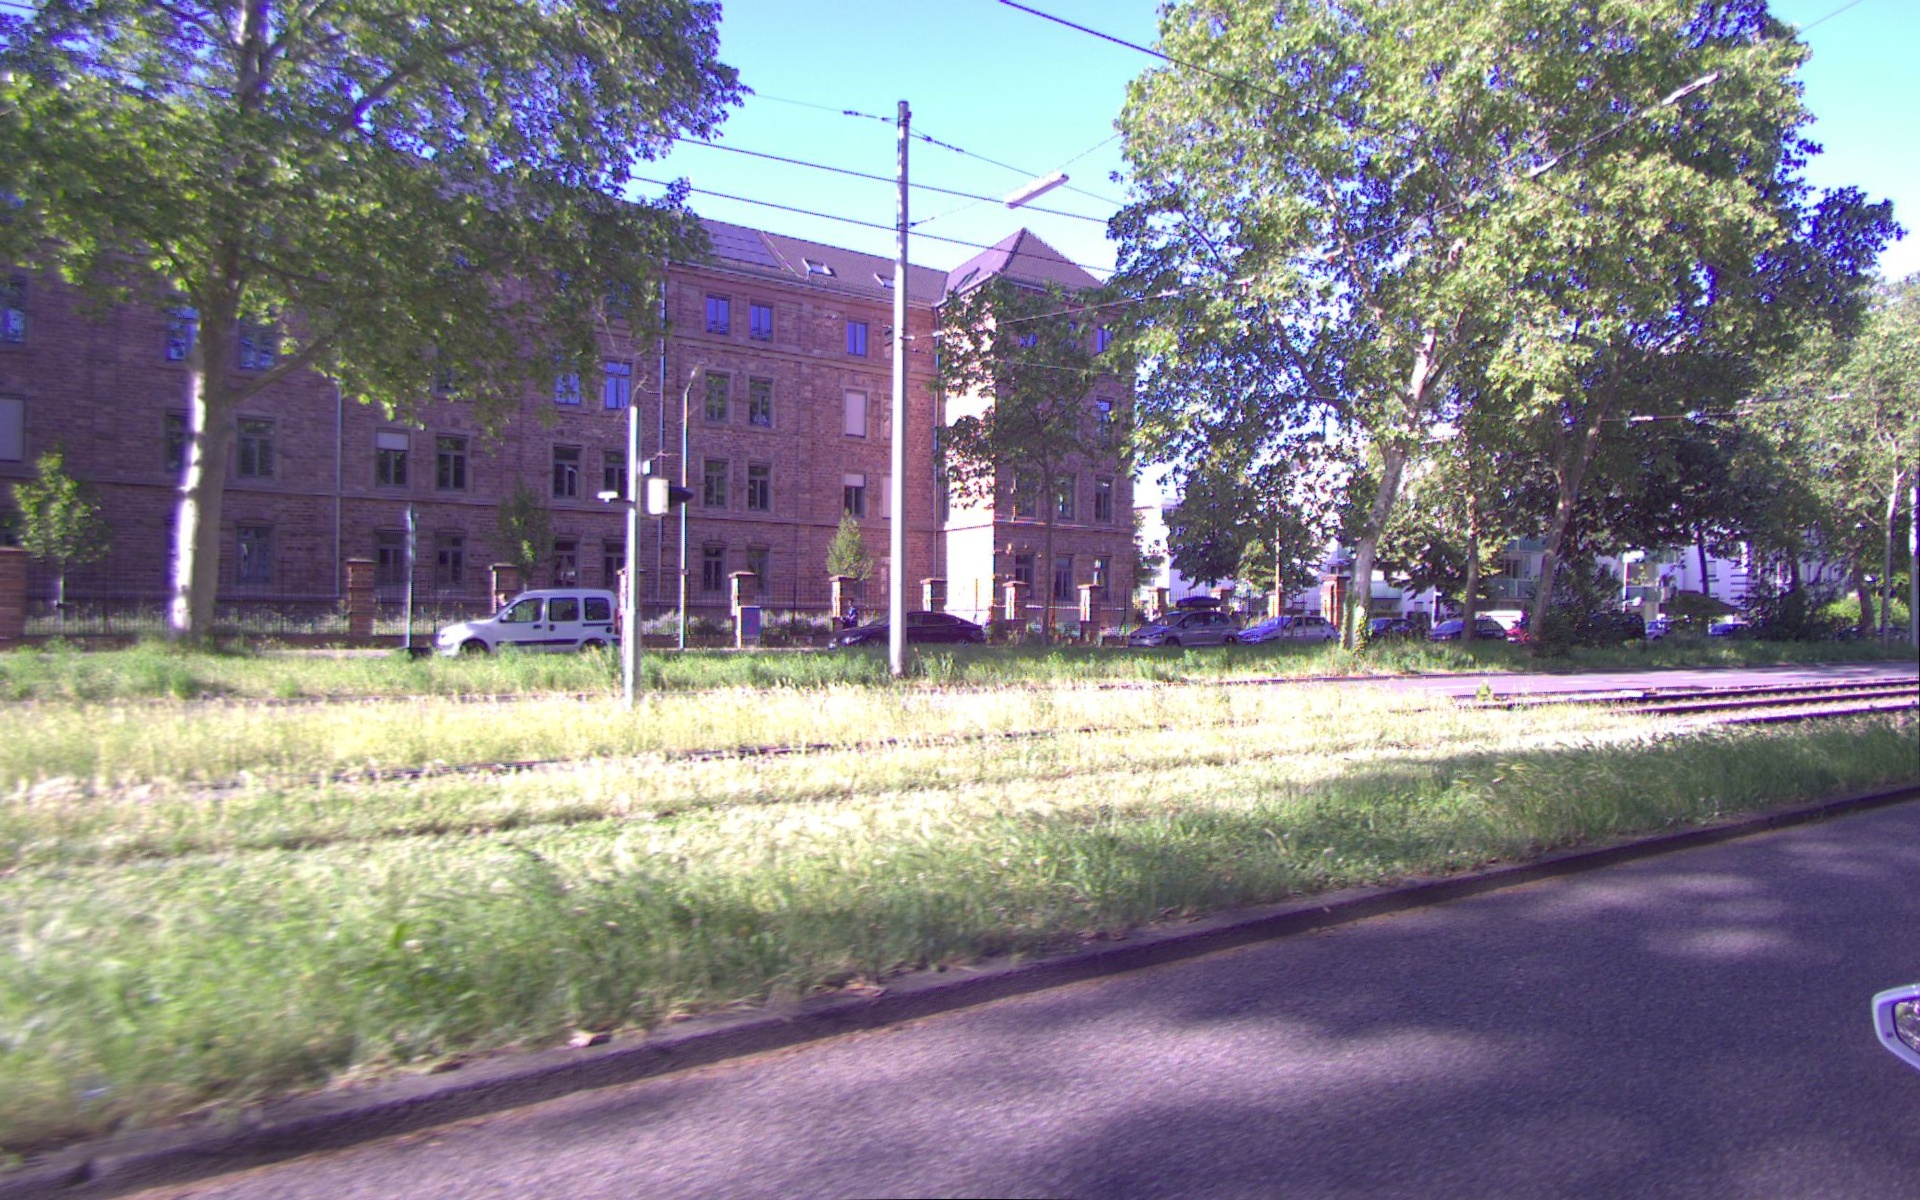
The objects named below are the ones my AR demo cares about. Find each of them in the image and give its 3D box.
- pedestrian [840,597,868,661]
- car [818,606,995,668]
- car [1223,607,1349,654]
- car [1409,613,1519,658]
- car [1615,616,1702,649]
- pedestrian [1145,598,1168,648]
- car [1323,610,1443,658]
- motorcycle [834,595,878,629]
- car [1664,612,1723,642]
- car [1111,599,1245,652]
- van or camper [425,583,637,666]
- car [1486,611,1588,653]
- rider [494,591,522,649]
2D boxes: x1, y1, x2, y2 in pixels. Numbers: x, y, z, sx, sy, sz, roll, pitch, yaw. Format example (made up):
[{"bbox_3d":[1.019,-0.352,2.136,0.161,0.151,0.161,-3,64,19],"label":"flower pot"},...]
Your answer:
[{"bbox_3d":[-3.430,0.923,32.409,0.702,2.040,0.582,1,0,-31],"label":"pedestrian"},{"bbox_3d":[-1.521,1.011,29.161,4.769,1.671,1.984,1,0,-30],"label":"car"},{"bbox_3d":[12.148,1.121,37.408,4.362,1.637,1.987,1,0,-26],"label":"car"},{"bbox_3d":[21.526,1.477,42.885,4.686,1.833,2.097,1,0,-32],"label":"car"},{"bbox_3d":[36.247,1.713,52.094,5.035,1.619,2.016,2,-3,-33],"label":"car"},{"bbox_3d":[8.223,0.951,42.009,0.618,2.040,0.711,1,0,-30],"label":"pedestrian"},{"bbox_3d":[16.926,1.330,40.147,4.684,1.833,2.098,1,0,-32],"label":"car"},{"bbox_3d":[-3.354,0.382,32.433,1.278,1.067,0.580,0,0,-30],"label":"motorcycle"},{"bbox_3d":[52.537,1.918,71.920,3.952,2.040,1.985,1,-1,-29],"label":"car"},{"bbox_3d":[7.522,0.857,34.566,4.362,1.742,1.762,1,0,-26],"label":"car"},{"bbox_3d":[-10.200,0.597,23.966,4.384,1.811,1.982,1,-1,-33],"label":"van or camper"},{"bbox_3d":[26.400,1.435,45.904,4.685,1.833,2.098,1,0,-32],"label":"car"},{"bbox_3d":[-13.391,0.589,29.760,0.678,1.666,0.725,1,-1,-30],"label":"rider"}]
